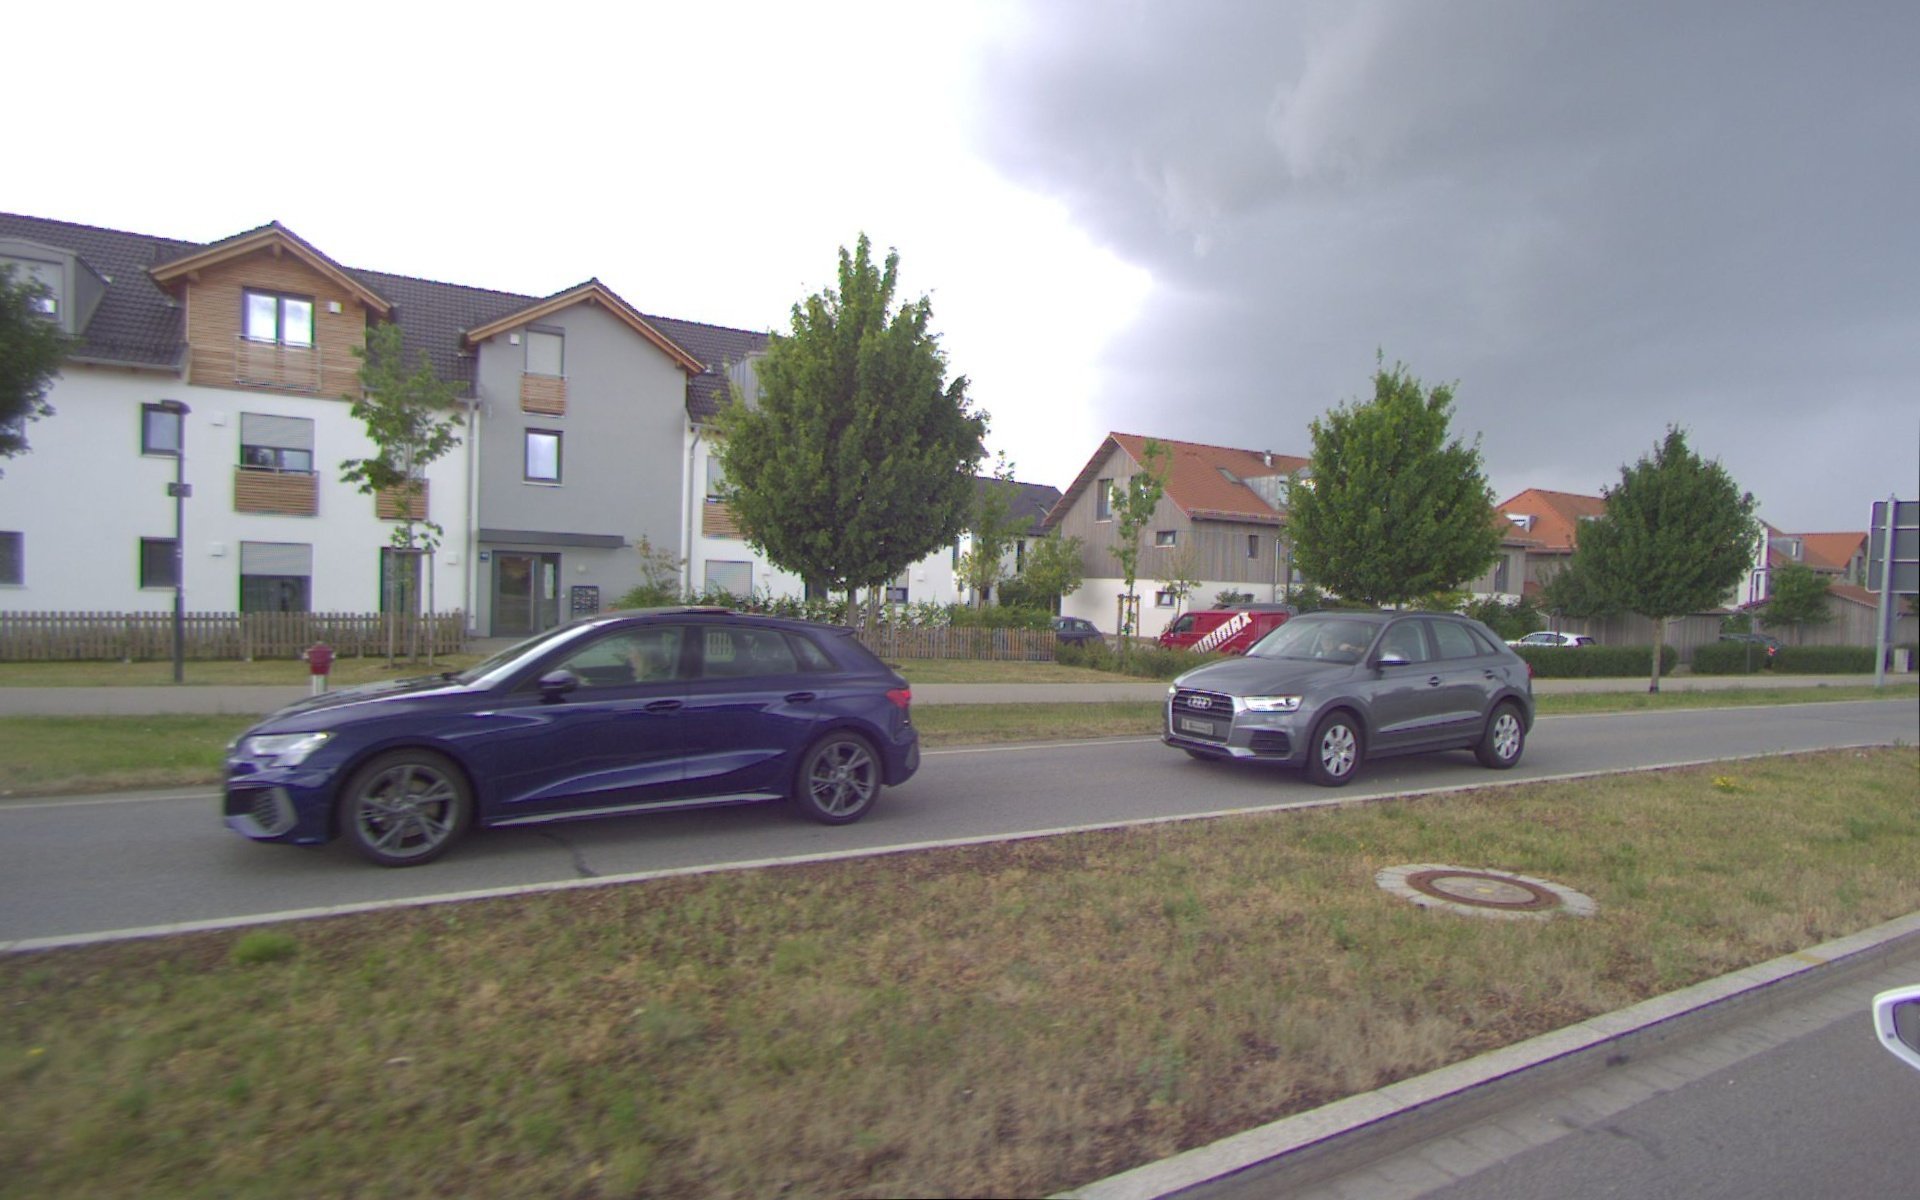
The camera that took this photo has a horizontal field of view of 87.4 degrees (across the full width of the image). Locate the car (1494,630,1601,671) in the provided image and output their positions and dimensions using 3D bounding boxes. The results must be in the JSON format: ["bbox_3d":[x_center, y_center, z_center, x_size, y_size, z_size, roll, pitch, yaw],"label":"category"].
[{"bbox_3d":[23.959,2.024,41.083,1.545,1.509,3.497,1,-1,-30],"label":"car"}]

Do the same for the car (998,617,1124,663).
[{"bbox_3d":[3.471,1.349,34.353,3.953,1.439,1.866,1,-1,-31],"label":"car"}]

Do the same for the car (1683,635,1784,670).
[{"bbox_3d":[36.655,2.470,47.655,1.545,1.509,3.497,1,-1,-30],"label":"car"}]

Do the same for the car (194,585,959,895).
[{"bbox_3d":[-2.314,0.730,6.782,4.299,1.508,1.817,1,-1,-31],"label":"car"}]

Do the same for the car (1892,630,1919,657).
[{"bbox_3d":[61.915,2.844,63.482,1.975,1.577,3.969,1,2,-28],"label":"car"}]

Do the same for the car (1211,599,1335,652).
[{"bbox_3d":[13.607,1.095,43.603,5.135,2.041,1.985,1,4,-28],"label":"car"}]

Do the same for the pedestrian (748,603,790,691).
[{"bbox_3d":[-3.502,0.850,18.407,0.579,1.550,0.543,1,2,-30],"label":"pedestrian"}]

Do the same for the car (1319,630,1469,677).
[{"bbox_3d":[15.637,1.879,36.467,1.883,1.449,4.884,1,-1,-29],"label":"car"}]

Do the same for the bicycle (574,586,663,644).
[{"bbox_3d":[-8.787,0.405,25.903,2.070,1.447,0.679,1,0,-31],"label":"bicycle"}]

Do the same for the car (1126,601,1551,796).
[{"bbox_3d":[3.889,0.862,10.165,4.167,1.603,1.817,1,-1,-31],"label":"car"}]

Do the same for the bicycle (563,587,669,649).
[{"bbox_3d":[-8.228,0.432,24.078,2.316,1.431,0.679,1,0,-31],"label":"bicycle"}]

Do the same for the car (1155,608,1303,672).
[{"bbox_3d":[8.459,1.221,32.115,1.880,1.840,4.891,1,-1,-24],"label":"car"}]

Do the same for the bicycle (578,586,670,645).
[{"bbox_3d":[-8.414,0.405,25.193,2.070,1.436,0.679,1,0,-31],"label":"bicycle"}]
